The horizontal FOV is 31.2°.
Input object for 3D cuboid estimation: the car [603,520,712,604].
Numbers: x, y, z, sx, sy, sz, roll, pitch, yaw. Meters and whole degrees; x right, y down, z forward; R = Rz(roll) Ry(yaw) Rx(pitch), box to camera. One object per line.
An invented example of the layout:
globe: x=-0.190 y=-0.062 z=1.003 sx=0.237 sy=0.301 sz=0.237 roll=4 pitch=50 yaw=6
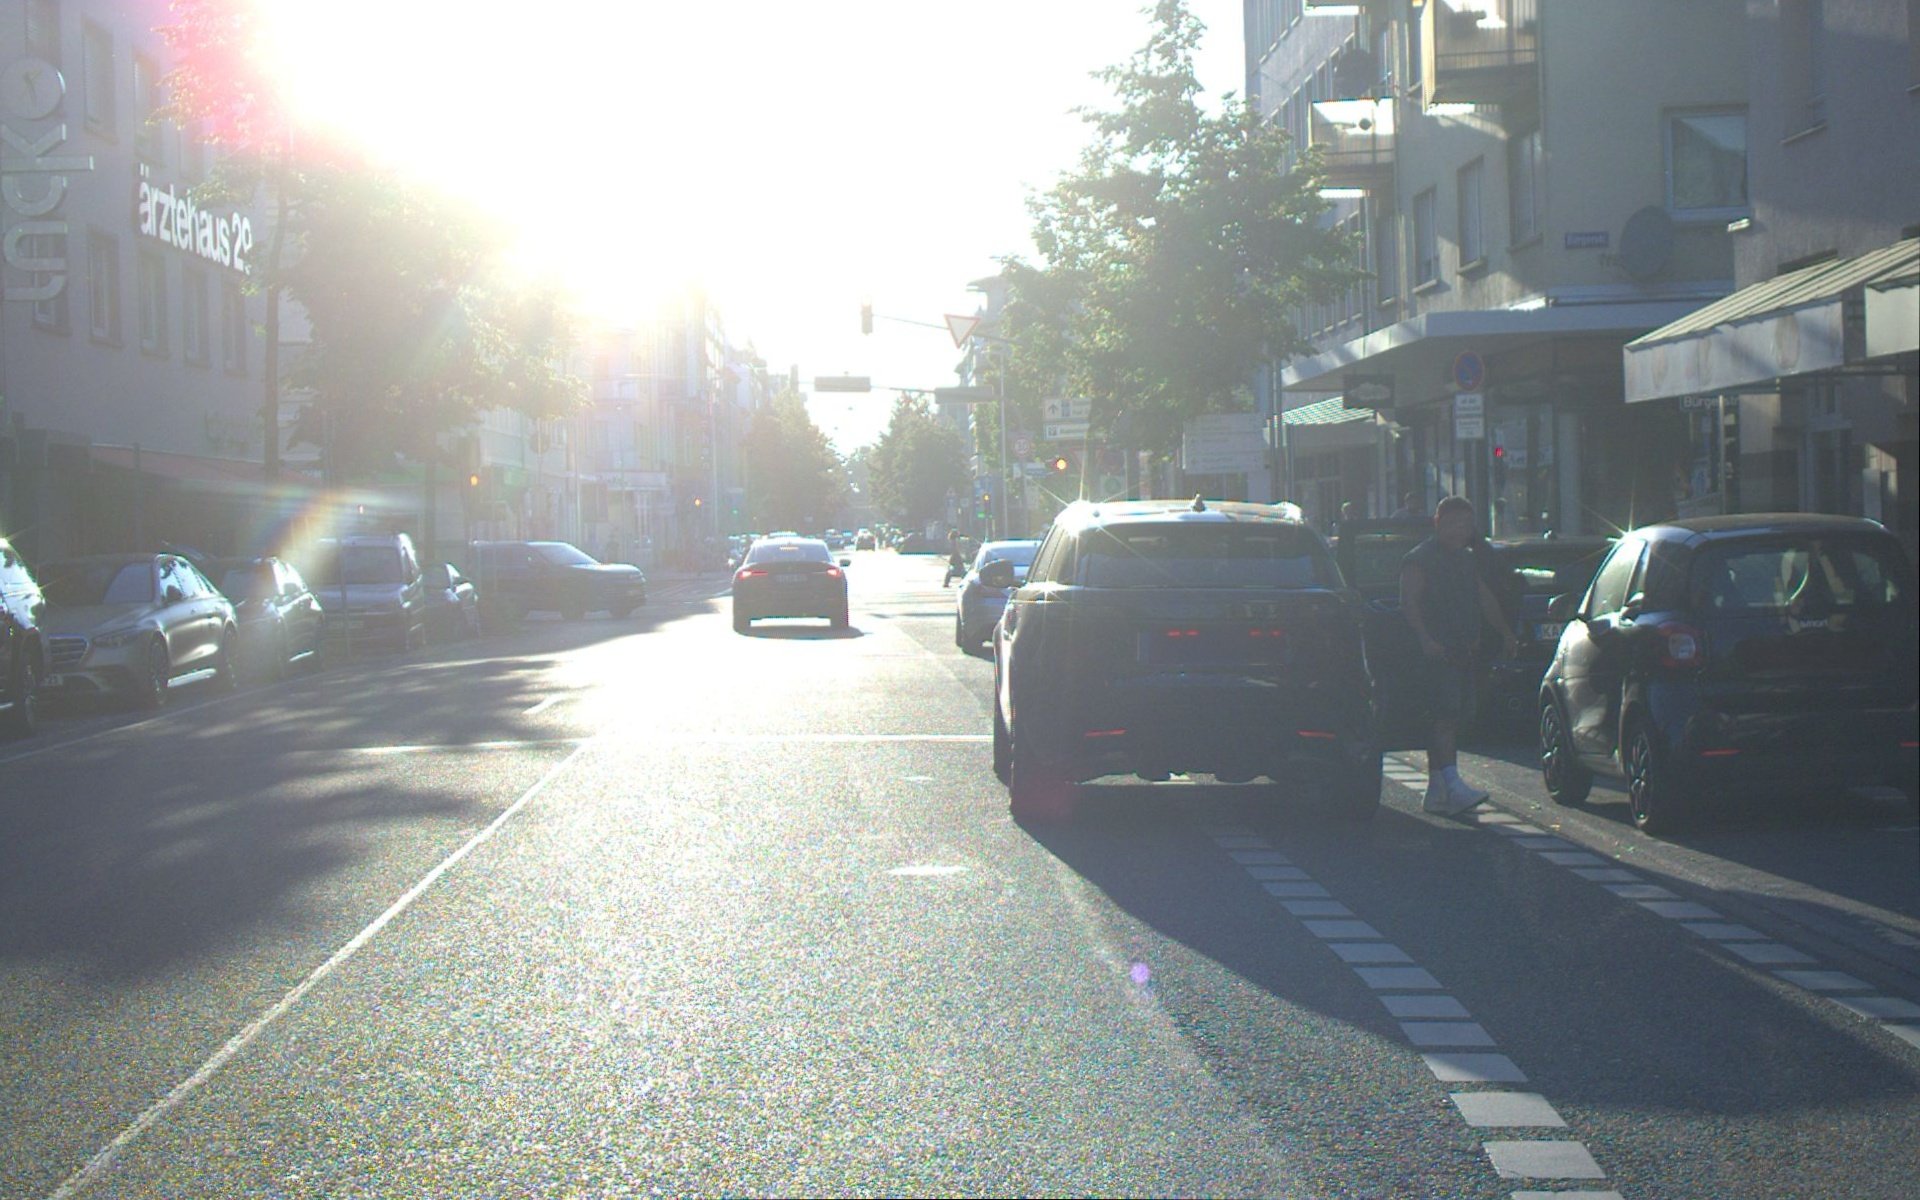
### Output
car: x=-6.230 y=-0.811 z=71.211 sx=1.922 sy=1.596 sz=4.326 roll=-1 pitch=2 yaw=-1

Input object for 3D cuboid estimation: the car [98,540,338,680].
car: x=-8.646 y=0.069 z=40.424 sx=1.827 sy=1.434 sz=4.554 roll=-3 pitch=1 yaw=-1

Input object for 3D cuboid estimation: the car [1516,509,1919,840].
car: x=4.041 y=0.324 z=18.005 sx=1.632 sy=1.548 sz=2.695 roll=-2 pitch=2 yaw=-3

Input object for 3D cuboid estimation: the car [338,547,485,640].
car: x=-8.869 y=-0.134 z=55.853 sx=1.833 sy=1.323 sz=4.124 roll=-2 pitch=2 yaw=-2

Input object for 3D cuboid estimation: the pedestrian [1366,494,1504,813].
pedestrian: x=2.532 y=0.277 z=18.362 sx=0.441 sy=1.659 sz=0.565 roll=-3 pitch=2 yaw=-26

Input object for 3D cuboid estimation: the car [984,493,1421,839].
car: x=1.190 y=0.264 z=18.985 sx=1.995 sy=1.649 sz=4.674 roll=1 pitch=1 yaw=-1

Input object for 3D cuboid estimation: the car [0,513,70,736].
car: x=-8.697 y=0.242 z=27.706 sx=1.827 sy=1.804 sz=5.349 roll=-3 pitch=2 yaw=-3

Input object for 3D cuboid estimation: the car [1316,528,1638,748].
car: x=3.668 y=0.214 z=24.962 sx=1.633 sy=1.419 sz=3.758 roll=-2 pitch=1 yaw=-2

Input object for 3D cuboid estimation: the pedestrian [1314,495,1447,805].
pedestrian: x=2.307 y=0.266 z=18.881 sx=0.441 sy=1.659 sz=0.565 roll=-3 pitch=2 yaw=-26

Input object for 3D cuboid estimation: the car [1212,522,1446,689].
car: x=3.422 y=0.002 z=32.495 sx=1.703 sy=1.431 sz=3.932 roll=-2 pitch=1 yaw=-1

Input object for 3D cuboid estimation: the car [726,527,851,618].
car: x=-2.760 y=-0.483 z=56.240 sx=1.883 sy=1.410 sz=4.325 roll=0 pitch=1 yaw=-1

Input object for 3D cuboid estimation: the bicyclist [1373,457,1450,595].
bicyclist: x=5.690 y=-0.935 z=43.400 sx=0.650 sy=1.696 sz=1.096 roll=-1 pitch=1 yaw=-9

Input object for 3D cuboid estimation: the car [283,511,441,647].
car: x=-8.602 y=-0.330 z=49.757 sx=1.832 sy=1.848 sz=4.125 roll=-1 pitch=1 yaw=-4

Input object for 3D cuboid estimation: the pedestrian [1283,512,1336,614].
pedestrian: x=5.381 y=-0.573 z=52.925 sx=0.688 sy=1.553 sz=0.863 roll=-1 pitch=1 yaw=0

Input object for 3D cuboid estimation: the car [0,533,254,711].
car: x=-8.545 y=0.166 z=34.446 sx=1.827 sy=1.551 sz=5.136 roll=-3 pitch=2 yaw=0

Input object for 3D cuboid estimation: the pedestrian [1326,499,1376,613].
pedestrian: x=6.002 y=-0.680 z=52.803 sx=0.688 sy=1.715 sz=0.716 roll=-2 pitch=1 yaw=5

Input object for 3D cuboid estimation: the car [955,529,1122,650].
car: x=0.937 y=-0.176 z=43.636 sx=1.922 sy=1.410 sz=4.548 roll=1 pitch=1 yaw=-1

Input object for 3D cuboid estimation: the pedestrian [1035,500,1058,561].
pedestrian: x=2.449 y=-1.971 z=97.312 sx=0.494 sy=1.709 sz=0.462 roll=-2 pitch=2 yaw=-21

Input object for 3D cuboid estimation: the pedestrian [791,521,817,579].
pedestrian: x=-4.473 y=-1.442 z=98.447 sx=0.573 sy=1.639 sz=0.528 roll=-2 pitch=2 yaw=-22

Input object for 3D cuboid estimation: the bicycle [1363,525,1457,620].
bicycle: x=5.676 y=-0.358 z=43.480 sx=0.650 sy=1.151 sz=1.932 roll=-1 pitch=1 yaw=-9
